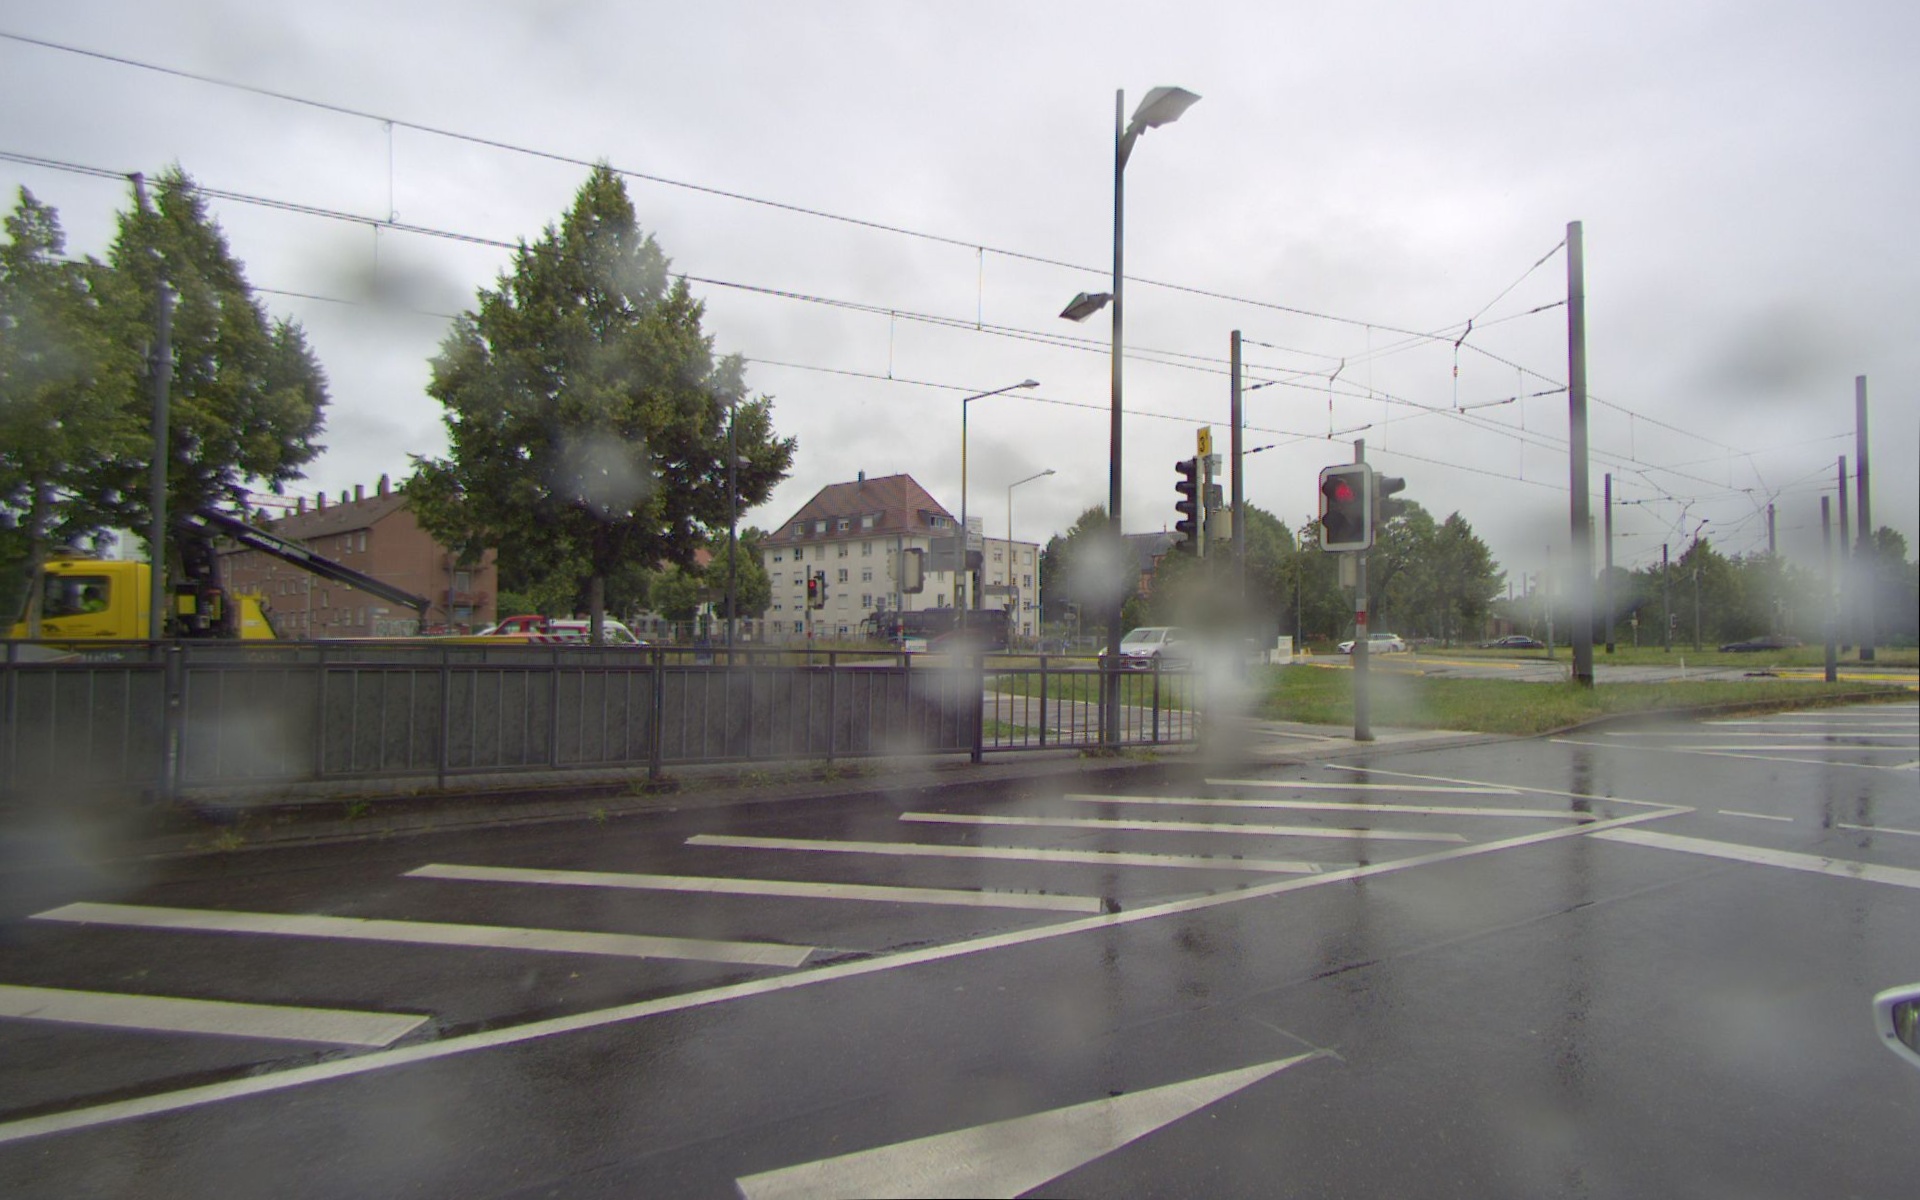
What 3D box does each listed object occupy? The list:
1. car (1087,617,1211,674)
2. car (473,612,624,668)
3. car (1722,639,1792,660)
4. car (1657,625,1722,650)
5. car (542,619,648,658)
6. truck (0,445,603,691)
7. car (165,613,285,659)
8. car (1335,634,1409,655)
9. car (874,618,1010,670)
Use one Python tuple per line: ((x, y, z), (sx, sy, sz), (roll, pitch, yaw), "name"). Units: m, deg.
((5.948, 1.376, 31.239), (1.970, 1.649, 4.384), (-1, -2, 39), "car")
((-19.029, 1.823, 46.793), (6.388, 2.503, 1.616), (1, -1, -20), "car")
((57.746, 3.573, 72.836), (3.925, 1.473, 1.617), (-1, -2, 38), "car")
((57.655, 2.963, 79.427), (3.921, 1.840, 1.681), (2, 0, 0), "car")
((-22.352, 2.329, 61.762), (6.003, 2.308, 1.617), (0, -2, -18), "car")
((-11.865, -0.373, 19.202), (9.082, 3.828, 2.672), (2, 0, -33), "truck")
((-42.148, 2.089, 57.788), (5.441, 2.485, 1.980), (2, 0, -36), "car")
((29.292, 3.138, 71.489), (4.530, 1.473, 1.624), (0, -1, 3), "car")
((-1.498, 3.351, 78.725), (10.762, 3.770, 2.454), (0, -1, 28), "car")
